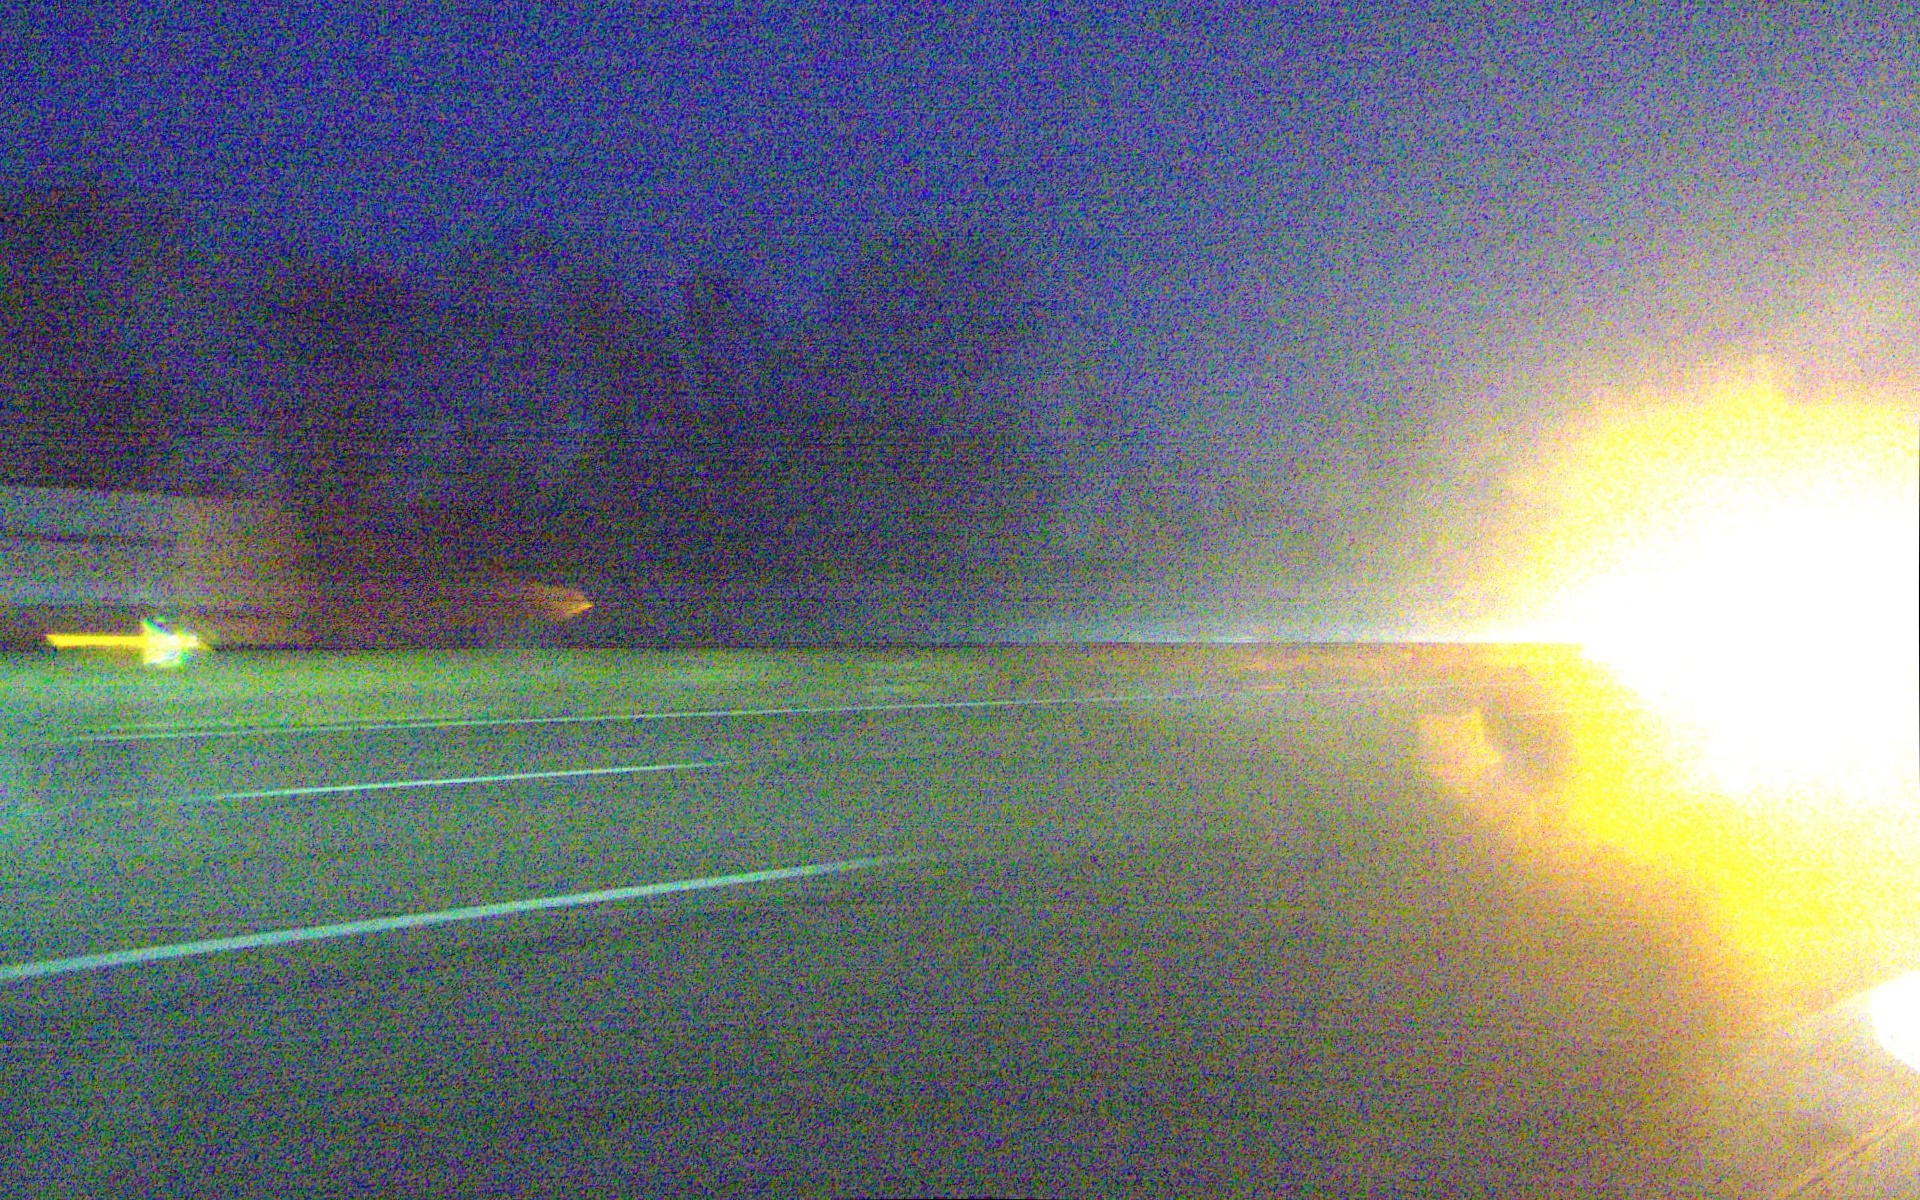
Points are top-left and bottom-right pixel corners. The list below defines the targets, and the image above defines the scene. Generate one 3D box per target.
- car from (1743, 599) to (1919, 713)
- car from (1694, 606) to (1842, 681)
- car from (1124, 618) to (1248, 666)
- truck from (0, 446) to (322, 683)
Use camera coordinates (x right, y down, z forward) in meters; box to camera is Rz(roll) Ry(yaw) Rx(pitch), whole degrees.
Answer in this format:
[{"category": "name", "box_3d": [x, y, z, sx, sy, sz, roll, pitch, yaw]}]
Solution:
[{"category": "car", "box_3d": [16.170, 0.941, 18.089, 4.470, 1.785, 2.025, 1, 0, -35]}, {"category": "car", "box_3d": [20.304, 1.025, 25.209, 3.957, 1.712, 1.755, 0, 0, -33]}, {"category": "car", "box_3d": [8.366, 1.525, 37.095, 4.361, 1.620, 1.827, 1, 0, -31]}, {"category": "truck", "box_3d": [-22.211, -0.776, 18.623, 17.287, 4.520, 3.190, 1, 0, -31]}]
